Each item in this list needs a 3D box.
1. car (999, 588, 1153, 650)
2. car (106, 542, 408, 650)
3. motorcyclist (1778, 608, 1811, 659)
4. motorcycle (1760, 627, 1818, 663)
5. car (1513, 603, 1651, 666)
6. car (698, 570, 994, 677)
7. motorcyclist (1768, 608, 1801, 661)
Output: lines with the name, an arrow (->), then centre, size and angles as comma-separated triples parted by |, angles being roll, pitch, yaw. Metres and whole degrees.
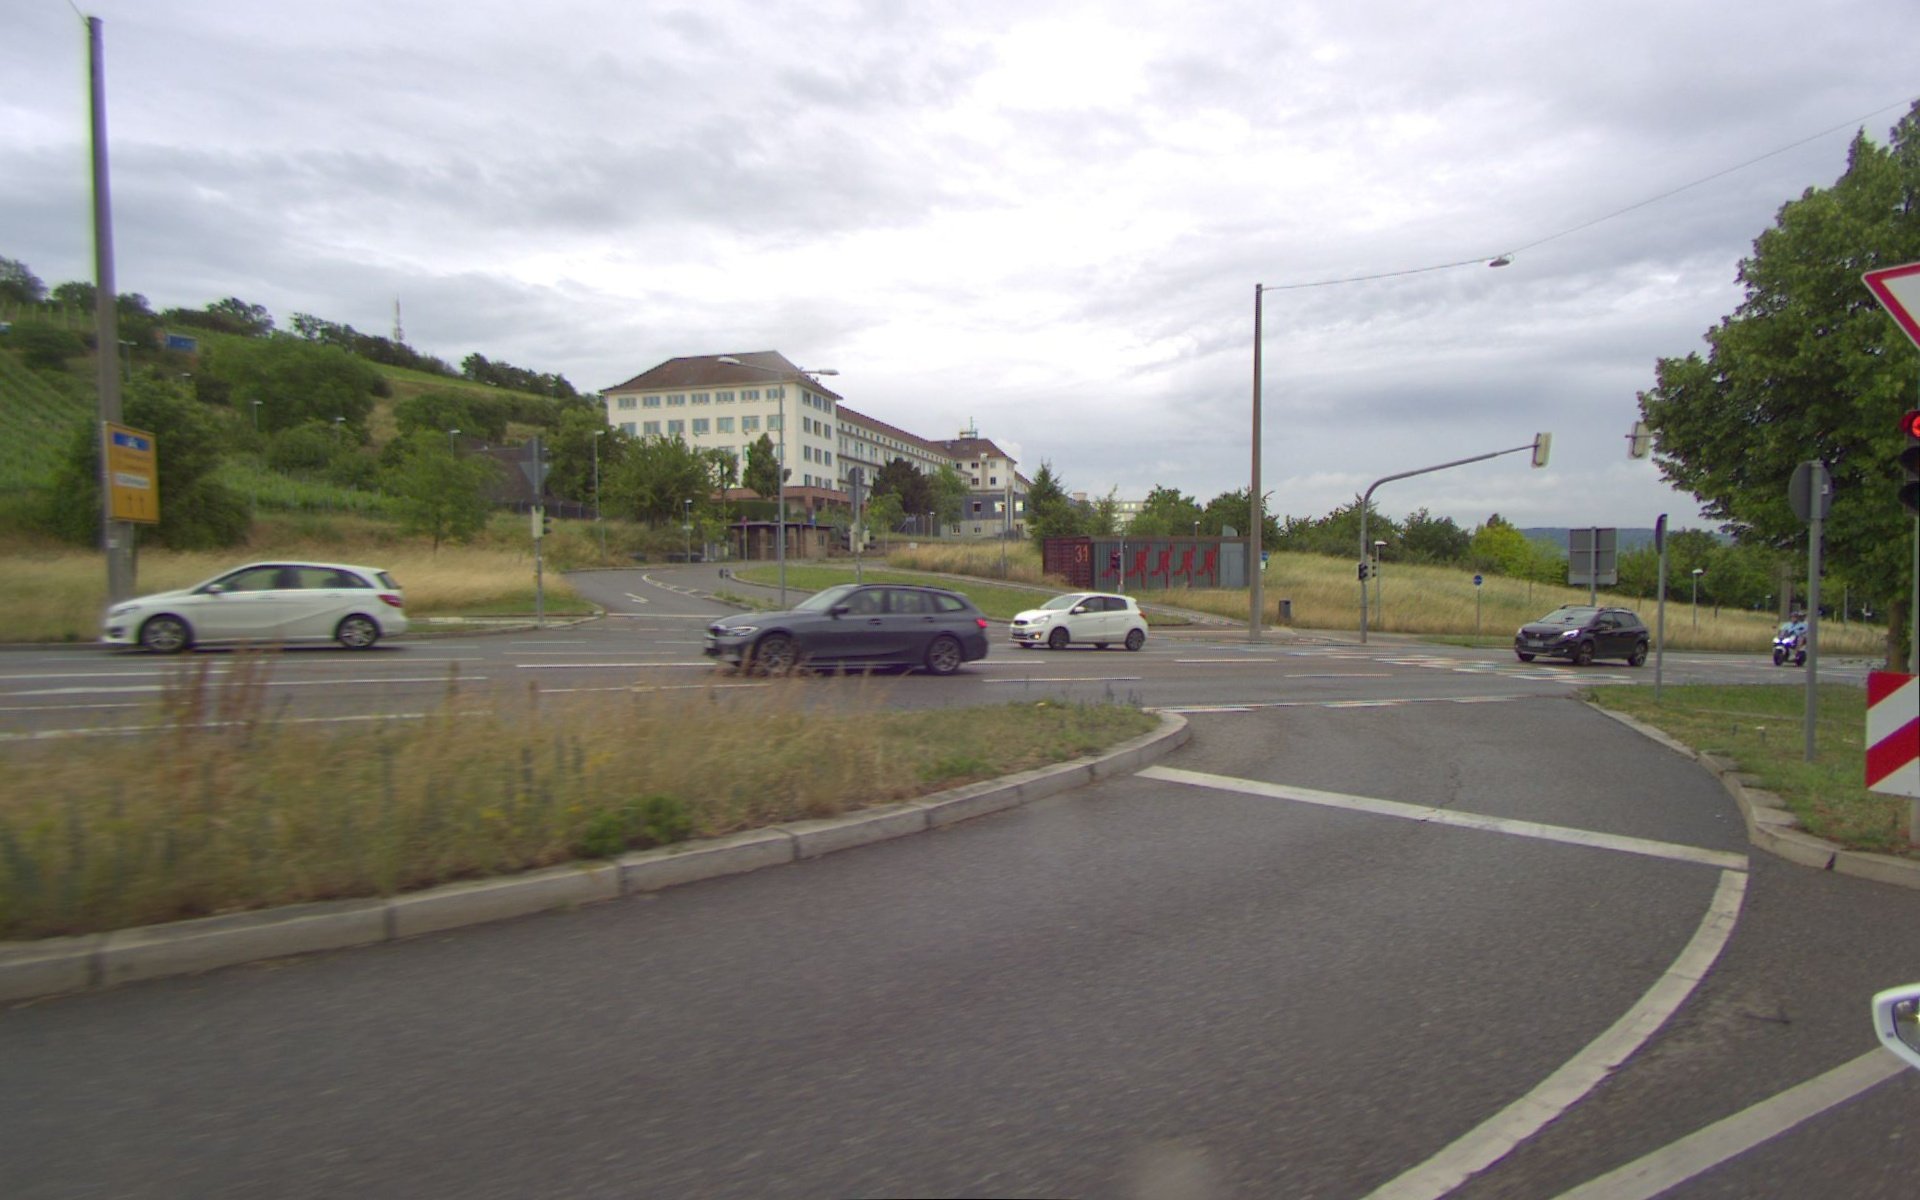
car -> 3.055, 0.505, 26.256 | 3.729, 1.482, 1.644 | 2, 0, -29
car -> -12.104, -0.030, 17.675 | 4.128, 1.670, 1.759 | 2, 0, -29
motorcyclist -> 26.880, 1.071, 32.360 | 0.575, 1.603, 0.609 | 0, 1, -30
motorcycle -> 26.579, 1.431, 32.188 | 2.472, 1.064, 0.614 | 0, 1, -30
car -> 16.537, 0.915, 26.685 | 3.618, 1.524, 1.531 | 2, 0, -29
car -> -1.794, 0.366, 16.195 | 4.410, 1.524, 1.743 | 2, 1, -29
motorcyclist -> 26.228, 1.085, 31.945 | 0.636, 1.618, 0.579 | 0, 2, -30
